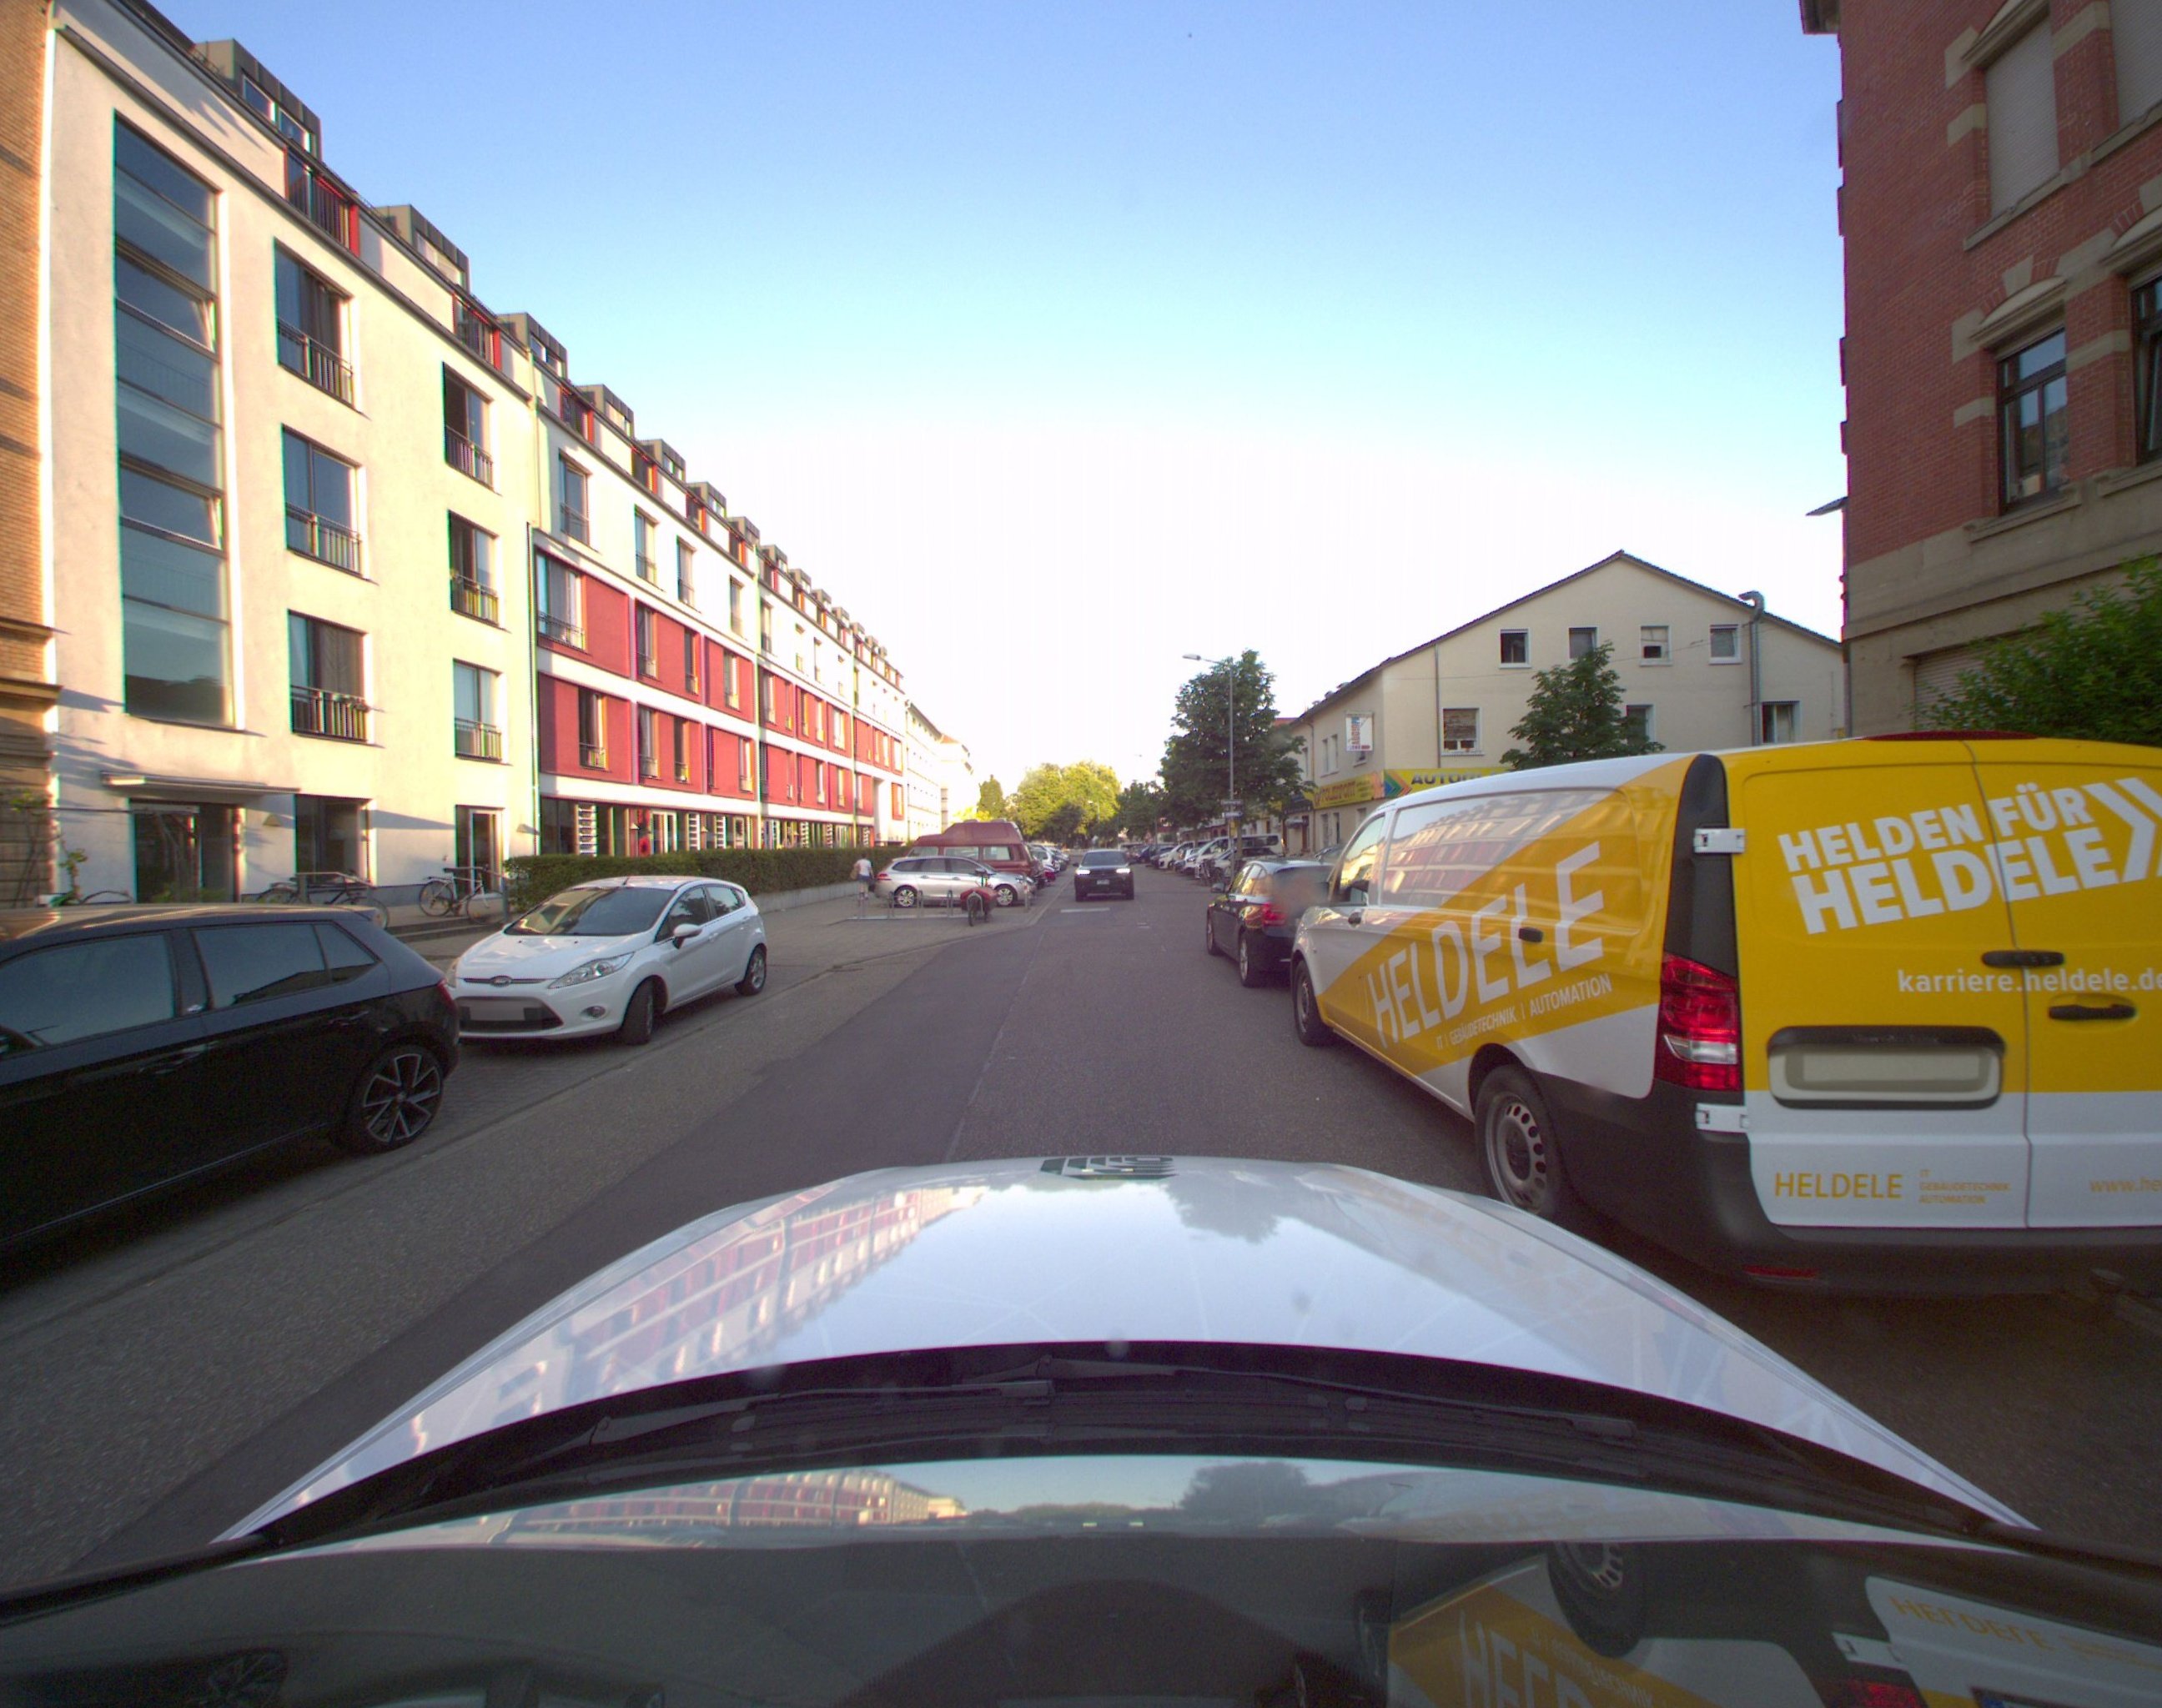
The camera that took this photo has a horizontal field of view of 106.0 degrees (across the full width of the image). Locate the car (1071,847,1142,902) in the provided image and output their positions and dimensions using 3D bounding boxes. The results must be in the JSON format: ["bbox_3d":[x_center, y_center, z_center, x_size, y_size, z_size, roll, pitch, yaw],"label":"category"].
[{"bbox_3d":[0.866,0.571,25.459,1.770,1.517,4.008,-3,0,7],"label":"car"}]

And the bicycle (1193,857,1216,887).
[{"bbox_3d":[4.880,0.692,32.300,0.437,1.130,2.014,-2,0,-4],"label":"bicycle"}]

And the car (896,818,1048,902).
[{"bbox_3d":[-3.397,0.165,26.021,4.493,2.584,2.001,0,0,2],"label":"car"}]

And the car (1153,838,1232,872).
[{"bbox_3d":[7.453,0.030,54.697,4.929,1.958,2.049,-3,0,-1],"label":"car"}]

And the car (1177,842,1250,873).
[{"bbox_3d":[7.676,0.203,47.366,3.897,1.526,1.940,-3,0,2],"label":"car"}]

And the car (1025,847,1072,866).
[{"bbox_3d":[-3.035,0.189,76.886,4.241,1.749,2.001,0,0,1],"label":"car"}]

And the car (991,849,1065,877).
[{"bbox_3d":[-3.128,0.531,48.453,4.241,1.652,1.888,0,0,1],"label":"car"}]

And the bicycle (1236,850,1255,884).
[{"bbox_3d":[6.549,0.485,32.486,0.384,1.304,2.018,-2,0,2],"label":"bicycle"}]

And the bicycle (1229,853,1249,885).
[{"bbox_3d":[6.291,0.582,32.481,0.384,1.200,2.018,-2,0,2],"label":"bicycle"}]

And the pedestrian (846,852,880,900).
[{"bbox_3d":[-6.969,0.702,26.063,0.829,1.501,0.798,0,0,2],"label":"pedestrian"}]

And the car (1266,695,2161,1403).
[{"bbox_3d":[2.566,0.501,4.726,1.886,1.884,5.083,-1,0,1],"label":"car"}]

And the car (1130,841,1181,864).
[{"bbox_3d":[7.038,-0.153,76.999,4.470,1.911,1.685,-3,0,-4],"label":"car"}]

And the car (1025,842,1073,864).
[{"bbox_3d":[-3.122,-0.083,79.525,4.517,2.134,2.001,0,0,1],"label":"car"}]

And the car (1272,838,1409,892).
[{"bbox_3d":[8.596,0.346,27.221,4.035,1.514,1.757,-3,2,2],"label":"car"}]

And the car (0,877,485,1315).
[{"bbox_3d":[-4.849,0.948,3.470,1.697,1.534,3.845,-1,0,1],"label":"car"}]

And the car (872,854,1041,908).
[{"bbox_3d":[-3.485,0.748,23.445,4.604,1.460,1.879,0,0,-3],"label":"car"}]

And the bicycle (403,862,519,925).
[{"bbox_3d":[-11.719,0.741,15.425,1.768,1.148,0.611,0,0,3],"label":"bicycle"}]

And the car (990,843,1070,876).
[{"bbox_3d":[-3.142,0.345,51.009,4.833,2.021,1.907,0,0,1],"label":"car"}]

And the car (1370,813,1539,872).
[{"bbox_3d":[10.193,-0.320,22.443,3.908,1.455,1.661,-2,1,6],"label":"car"}]

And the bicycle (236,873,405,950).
[{"bbox_3d":[-11.911,0.880,12.803,1.908,1.141,0.812,0,0,2],"label":"bicycle"}]

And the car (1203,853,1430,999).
[{"bbox_3d":[2.671,0.718,10.252,1.715,1.424,4.254,0,0,1],"label":"car"}]

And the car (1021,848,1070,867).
[{"bbox_3d":[-3.095,0.286,72.113,4.241,1.714,2.001,0,0,1],"label":"car"}]

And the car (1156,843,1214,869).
[{"bbox_3d":[8.218,0.167,64.400,4.303,1.804,1.810,-3,0,-1],"label":"car"}]

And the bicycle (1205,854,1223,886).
[{"bbox_3d":[5.299,0.623,32.479,0.384,1.200,2.018,-2,0,2],"label":"bicycle"}]

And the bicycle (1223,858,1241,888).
[{"bbox_3d":[6.012,0.727,32.500,0.384,1.114,2.018,-2,0,2],"label":"bicycle"}]

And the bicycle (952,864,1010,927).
[{"bbox_3d":[-2.171,0.869,18.124,0.804,1.221,2.867,0,0,3],"label":"bicycle"}]

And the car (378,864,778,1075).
[{"bbox_3d":[-4.648,0.923,8.336,1.646,1.530,4.015,-1,0,-1],"label":"car"}]

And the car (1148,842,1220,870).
[{"bbox_3d":[7.472,0.138,59.504,4.929,1.689,2.076,-3,0,-1],"label":"car"}]

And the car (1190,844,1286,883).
[{"bbox_3d":[7.005,0.409,36.609,3.907,1.451,1.767,-3,0,-2],"label":"car"}]

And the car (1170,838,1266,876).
[{"bbox_3d":[7.457,0.170,44.735,4.925,1.742,2.050,-3,0,2],"label":"car"}]

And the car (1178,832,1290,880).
[{"bbox_3d":[7.335,0.083,39.390,4.971,1.983,2.221,-3,0,1],"label":"car"}]

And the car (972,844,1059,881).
[{"bbox_3d":[-3.293,0.430,41.624,4.241,1.836,2.001,0,0,1],"label":"car"}]

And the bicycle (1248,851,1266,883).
[{"bbox_3d":[6.965,0.505,32.322,0.384,1.200,1.482,-2,0,2],"label":"bicycle"}]

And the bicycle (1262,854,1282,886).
[{"bbox_3d":[7.546,0.626,32.280,0.443,1.200,1.482,-2,0,2],"label":"bicycle"}]

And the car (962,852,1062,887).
[{"bbox_3d":[-3.013,0.665,36.197,4.193,1.490,1.850,0,0,1],"label":"car"}]

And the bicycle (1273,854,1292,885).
[{"bbox_3d":[7.973,0.600,32.263,0.351,1.200,1.482,-2,0,2],"label":"bicycle"}]

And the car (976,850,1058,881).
[{"bbox_3d":[-3.416,0.593,44.100,4.241,1.660,2.001,0,0,1],"label":"car"}]

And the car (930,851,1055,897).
[{"bbox_3d":[-3.024,0.670,28.586,4.196,1.538,1.790,0,0,-1],"label":"car"}]

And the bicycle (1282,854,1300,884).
[{"bbox_3d":[8.334,0.577,32.338,0.351,1.143,1.482,-2,0,2],"label":"bicycle"}]

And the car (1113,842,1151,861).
[{"bbox_3d":[5.804,-0.326,92.622,3.960,1.911,2.047,-3,0,-4],"label":"car"}]
